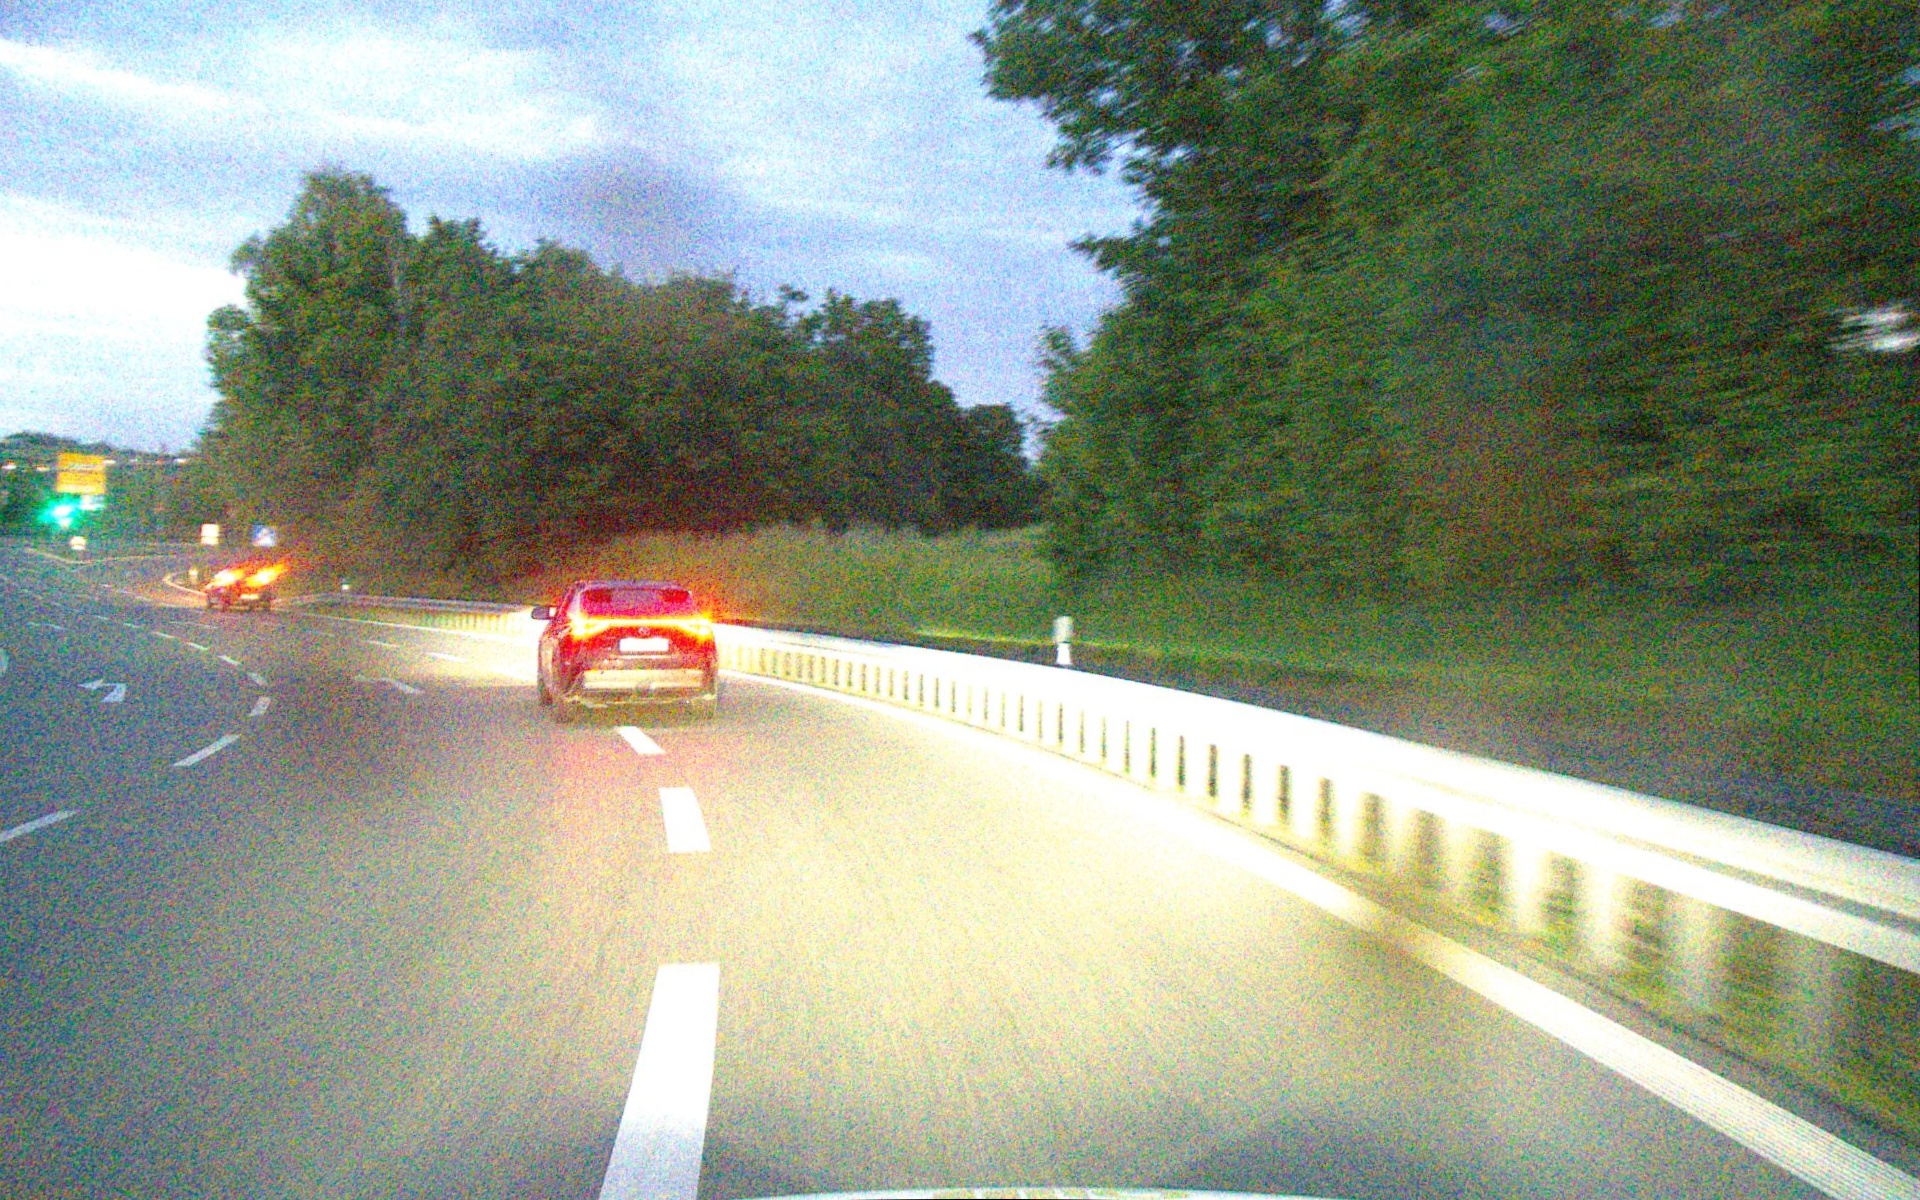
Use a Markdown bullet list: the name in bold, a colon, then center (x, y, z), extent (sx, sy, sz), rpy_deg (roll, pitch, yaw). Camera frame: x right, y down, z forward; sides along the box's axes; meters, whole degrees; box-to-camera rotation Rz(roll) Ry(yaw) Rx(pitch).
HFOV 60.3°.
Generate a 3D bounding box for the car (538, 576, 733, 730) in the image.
- **car**: center (-4.092, 0.558, 20.310), extent (1.871, 1.648, 4.534), rpy_deg (-1, 0, -17)

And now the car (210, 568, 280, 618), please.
- **car**: center (-25.674, -0.249, 59.361), extent (1.763, 1.682, 3.957), rpy_deg (2, -1, -31)
